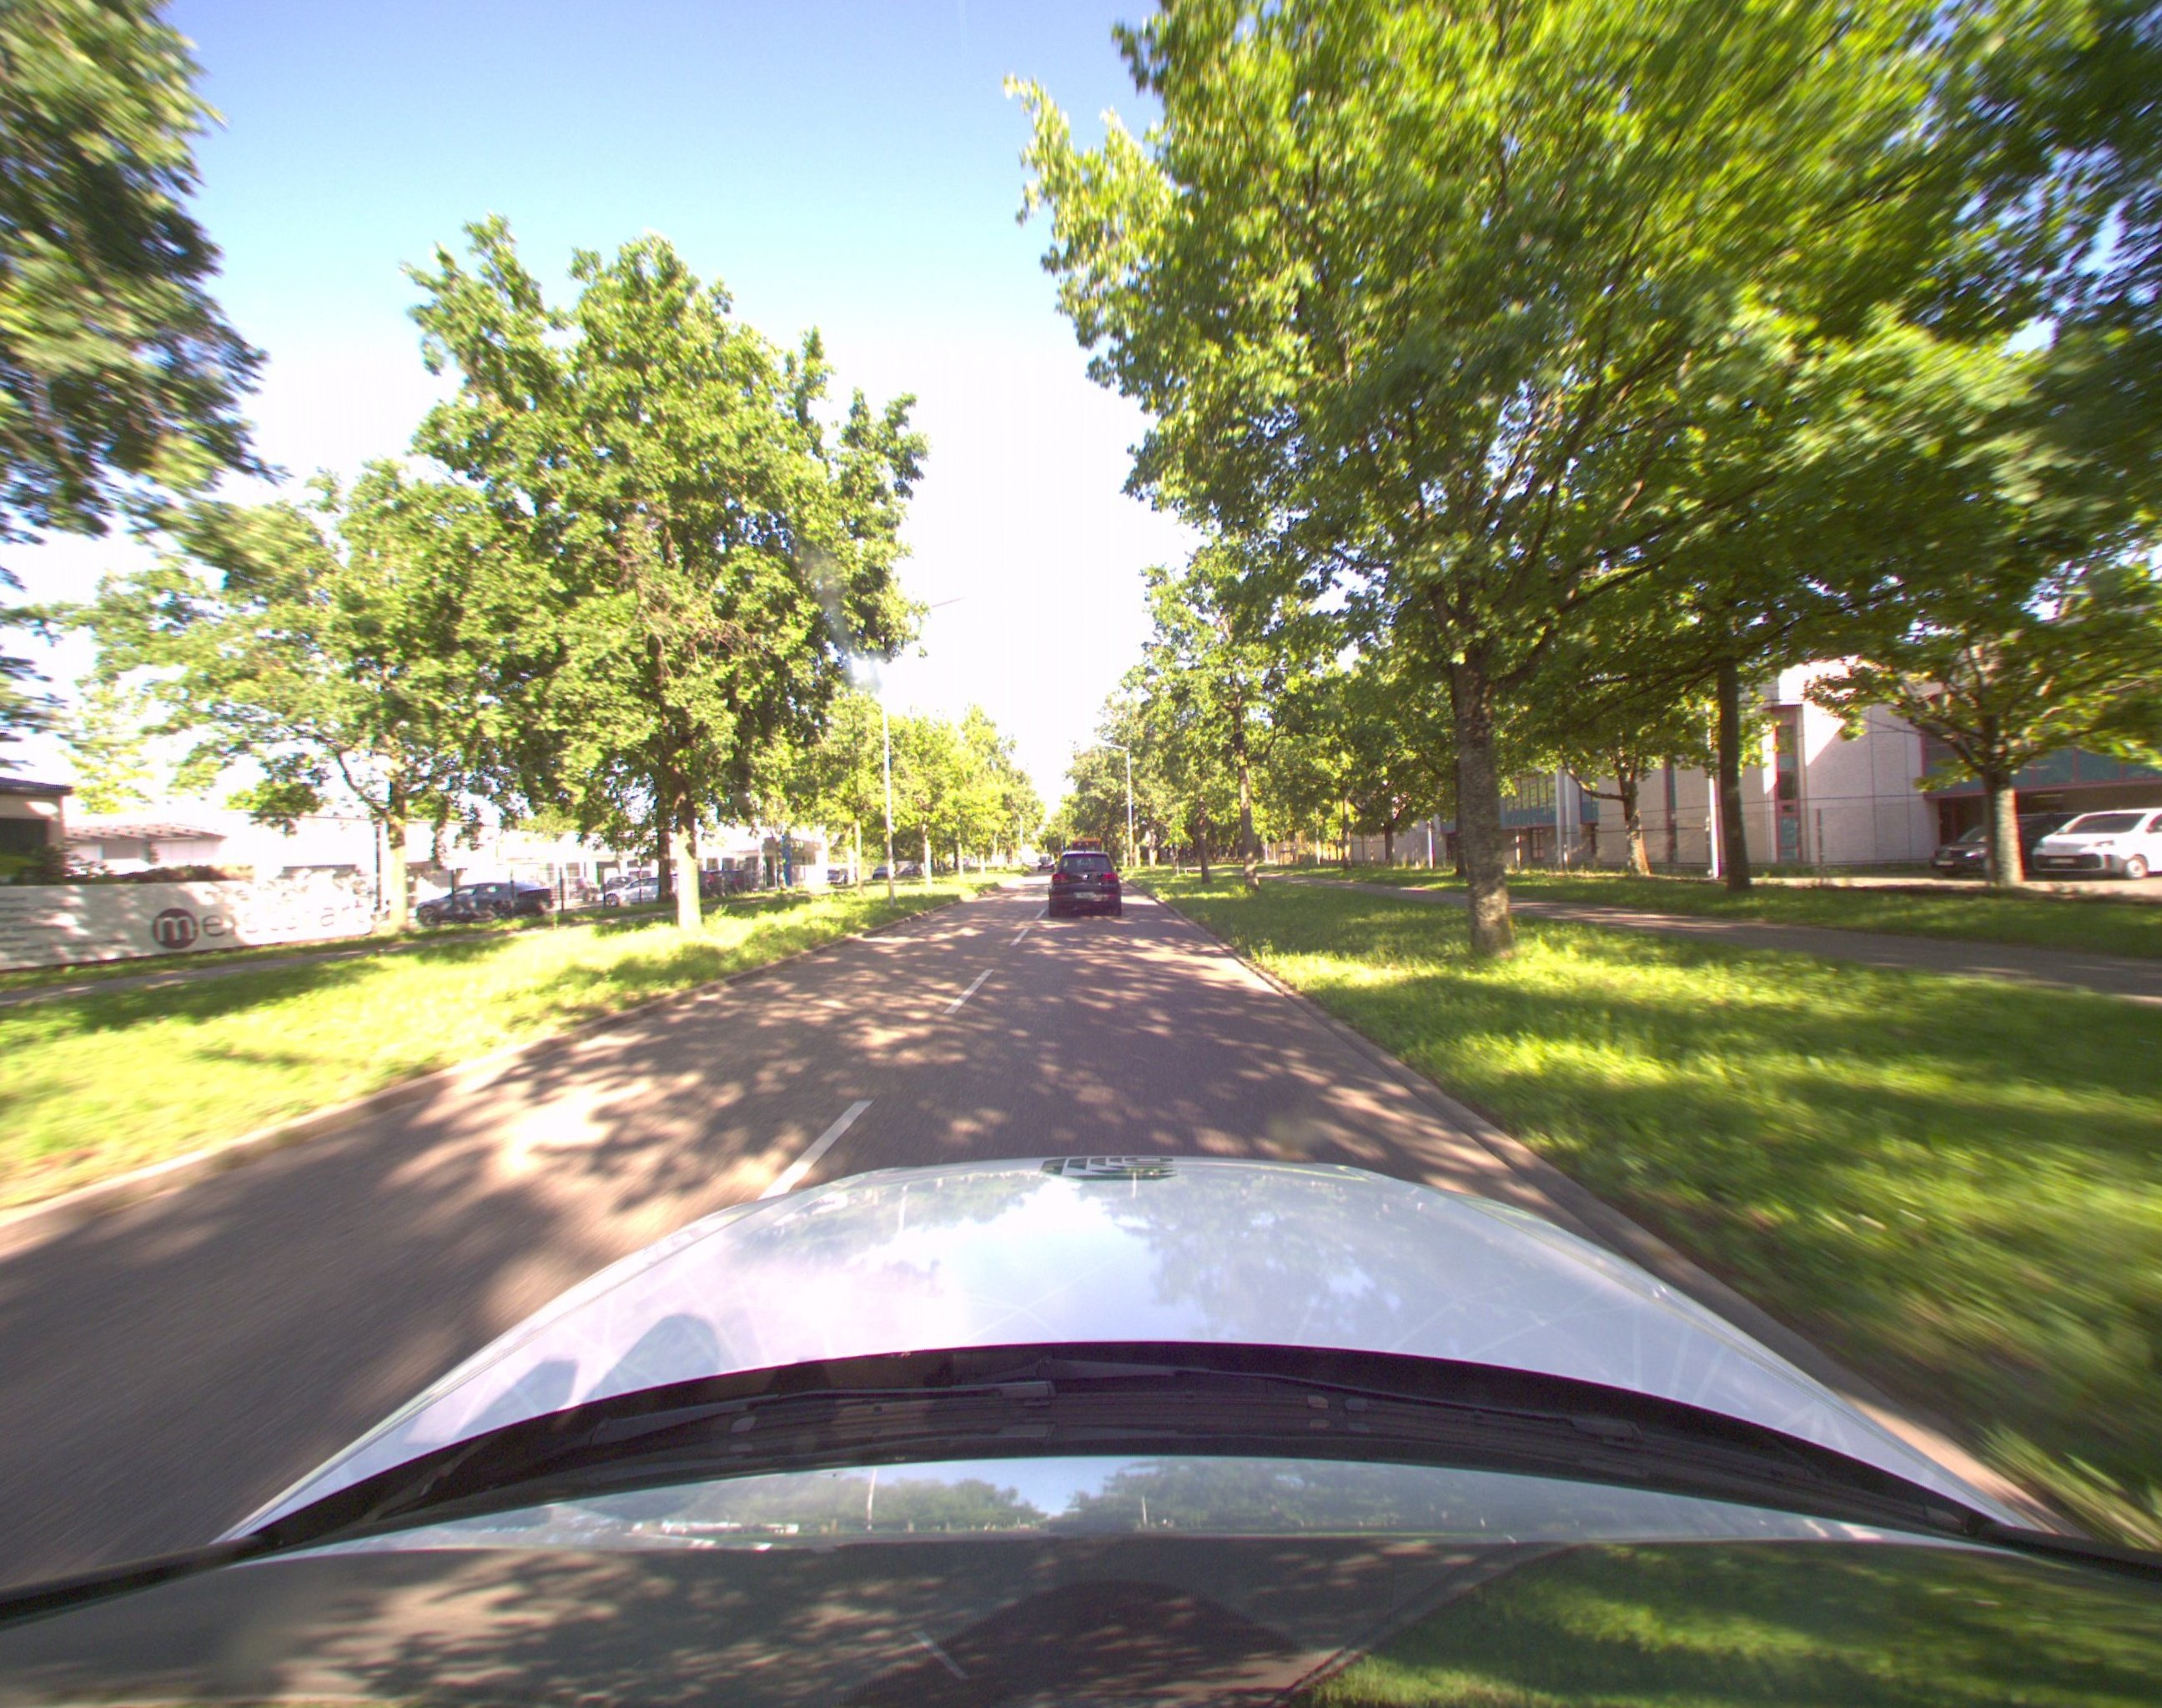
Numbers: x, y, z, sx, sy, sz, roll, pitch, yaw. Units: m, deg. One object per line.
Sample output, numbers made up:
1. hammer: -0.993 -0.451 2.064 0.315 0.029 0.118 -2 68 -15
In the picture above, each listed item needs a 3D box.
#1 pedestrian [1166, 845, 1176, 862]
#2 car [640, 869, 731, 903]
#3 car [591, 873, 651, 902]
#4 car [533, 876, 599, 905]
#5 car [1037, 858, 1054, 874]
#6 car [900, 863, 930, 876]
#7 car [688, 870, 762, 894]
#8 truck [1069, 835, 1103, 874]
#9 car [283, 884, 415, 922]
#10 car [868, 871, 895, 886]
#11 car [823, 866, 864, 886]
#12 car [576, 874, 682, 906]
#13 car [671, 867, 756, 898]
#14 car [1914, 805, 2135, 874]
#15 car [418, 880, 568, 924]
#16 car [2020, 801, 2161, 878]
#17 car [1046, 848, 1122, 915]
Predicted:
1. pedestrian: 8.997 -0.010 81.395 0.608 1.631 0.716 -4 0 -12
2. car: -21.377 1.702 44.080 3.973 1.746 1.862 0 -1 1
3. car: -30.090 2.162 53.448 1.996 1.689 5.235 0 -1 -14
4. car: -33.413 2.327 53.022 1.996 1.661 5.235 0 -1 -14
5. car: -3.941 1.332 90.490 1.763 1.672 4.197 -3 -1 -1
6. car: -22.748 2.147 111.706 3.986 1.802 1.993 0 -1 -10
7. car: -29.322 2.276 67.176 1.974 1.660 5.294 -1 1 37
8. truck: 0.361 0.061 72.873 2.507 3.244 8.141 -1 0 -4
9. car: -30.983 2.062 34.548 3.973 1.518 1.751 0 -1 1
10. car: -22.611 2.771 92.425 1.989 1.598 5.009 0 0 -3
11. car: -18.418 1.705 63.180 2.548 1.470 1.431 -2 0 15
12. car: -22.741 1.818 41.062 4.295 1.518 1.862 0 -1 1
13. car: -21.141 1.633 46.984 3.972 1.742 2.001 0 -1 2
14. car: 29.614 -0.444 25.648 4.939 1.884 1.997 -2 0 -5
15. car: -21.937 1.755 30.525 3.973 1.518 2.199 0 -1 1
16. car: 29.568 -0.471 22.632 5.054 1.959 1.892 -3 0 -5
17. car: -0.006 0.682 21.773 1.778 1.633 3.995 0 -1 -3
